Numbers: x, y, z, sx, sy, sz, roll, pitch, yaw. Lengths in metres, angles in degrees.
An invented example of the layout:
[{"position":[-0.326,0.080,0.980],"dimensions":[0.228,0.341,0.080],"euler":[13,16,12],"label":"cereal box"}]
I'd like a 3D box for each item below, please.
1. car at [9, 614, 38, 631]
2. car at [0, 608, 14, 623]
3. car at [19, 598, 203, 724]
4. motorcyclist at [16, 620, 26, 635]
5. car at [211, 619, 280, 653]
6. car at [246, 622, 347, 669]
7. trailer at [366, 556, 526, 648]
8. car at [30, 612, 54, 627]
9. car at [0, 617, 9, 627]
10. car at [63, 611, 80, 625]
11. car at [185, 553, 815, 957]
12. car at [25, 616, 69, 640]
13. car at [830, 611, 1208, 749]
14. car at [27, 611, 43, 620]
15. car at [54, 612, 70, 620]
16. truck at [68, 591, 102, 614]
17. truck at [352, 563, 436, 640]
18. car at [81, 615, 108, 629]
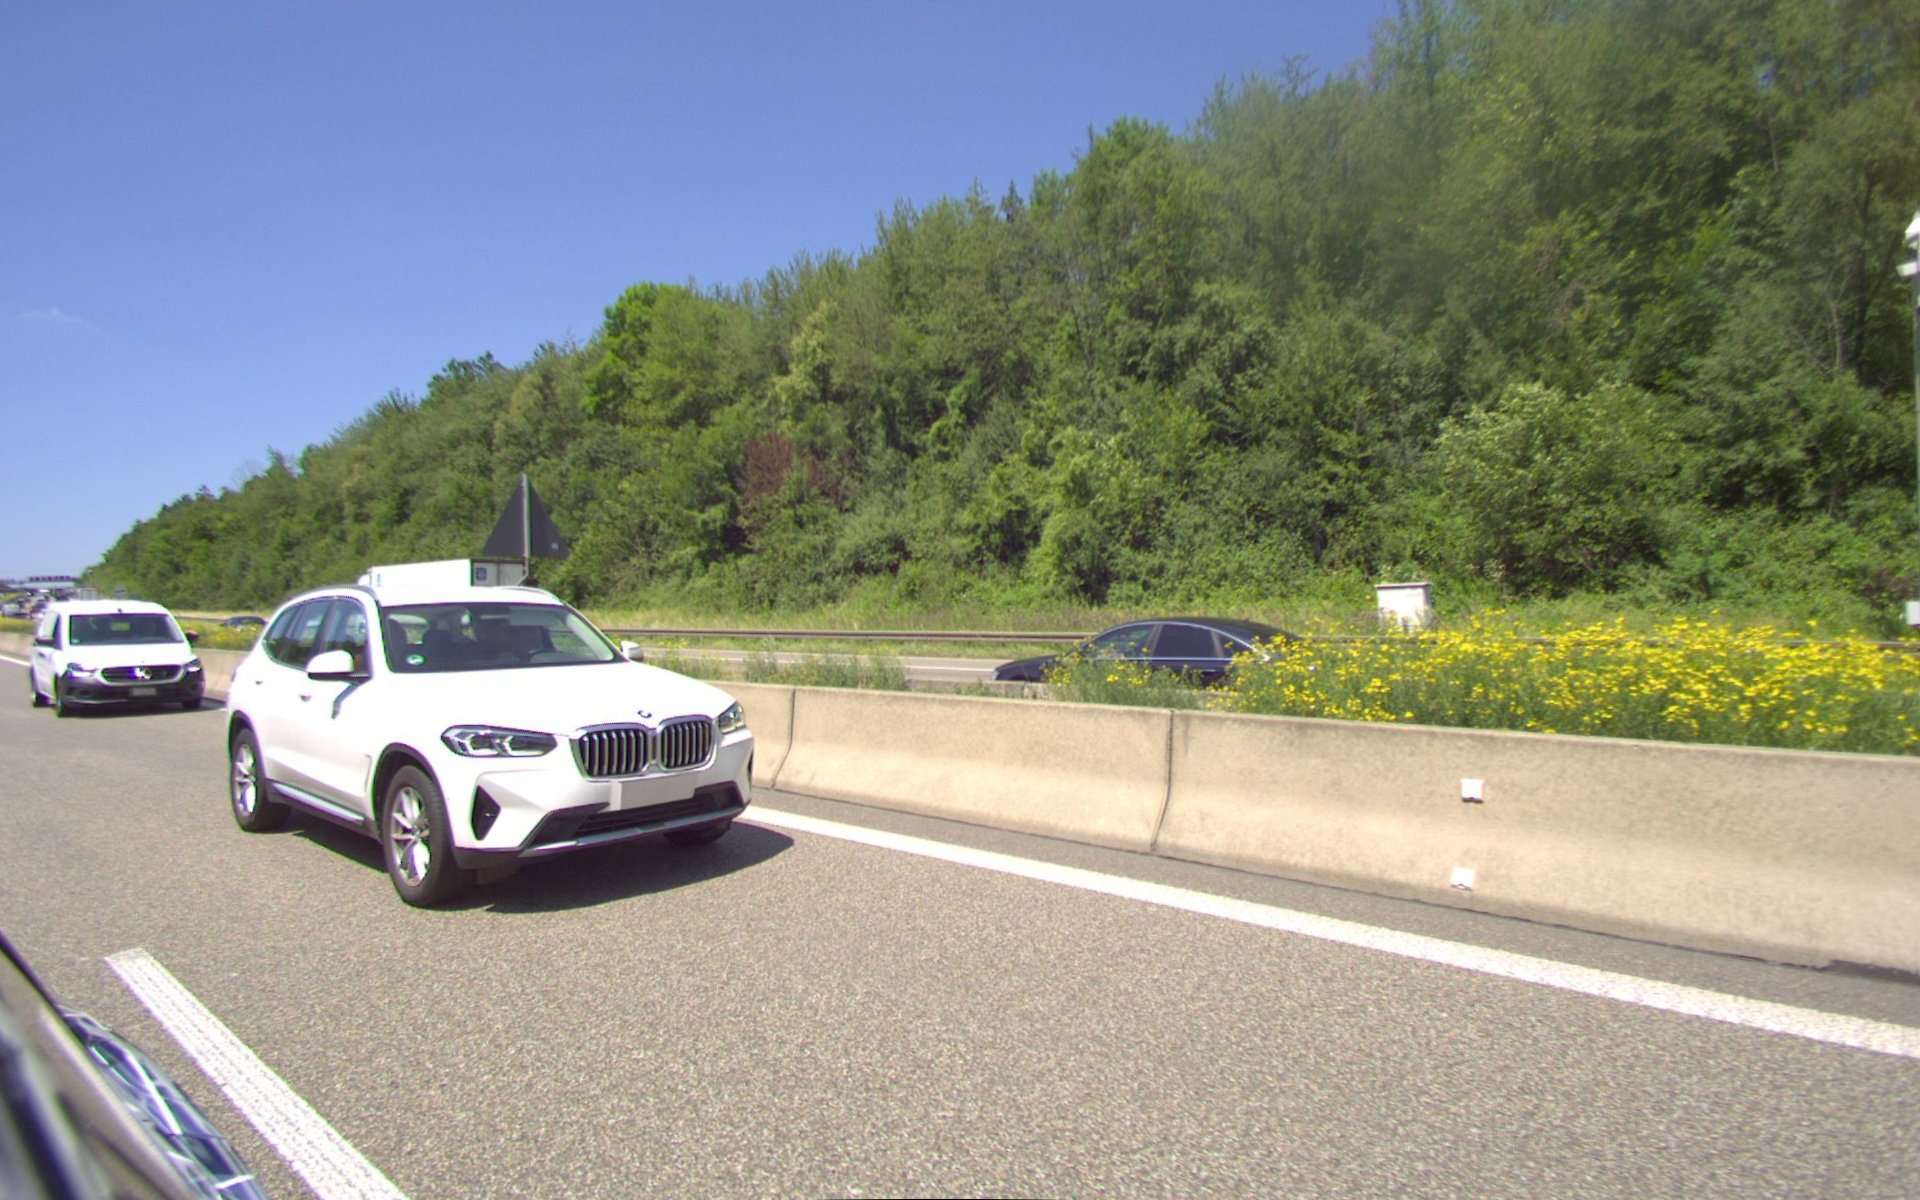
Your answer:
[{"position":[-102.012,2.435,110.231],"dimensions":[3.999,1.763,1.972],"euler":[-1,-1,42],"label":"car"},{"position":[-132.231,2.192,139.817],"dimensions":[4.900,2.029,1.972],"euler":[0,0,43],"label":"car"},{"position":[-14.192,0.924,16.822],"dimensions":[4.673,1.826,1.746],"euler":[-2,-1,42],"label":"car"},{"position":[-87.596,2.570,94.390],"dimensions":[0.577,1.344,0.616],"euler":[-1,-1,40],"label":"motorcyclist"},{"position":[-35.936,1.768,50.873],"dimensions":[3.999,1.584,1.973],"euler":[0,0,42],"label":"car"},{"position":[-21.436,1.424,32.641],"dimensions":[4.134,1.397,1.606],"euler":[-1,-1,40],"label":"car"},{"position":[-26.817,0.118,52.232],"dimensions":[13.932,4.239,2.685],"euler":[0,0,43],"label":"trailer"},{"position":[-118.014,2.510,130.119],"dimensions":[3.999,1.763,1.972],"euler":[-1,-1,42],"label":"car"},{"position":[-143.675,3.276,151.345],"dimensions":[4.000,1.564,1.972],"euler":[-1,-1,43],"label":"car"},{"position":[-130.427,2.667,148.528],"dimensions":[4.001,2.029,1.615],"euler":[0,0,44],"label":"car"},{"position":[-3.295,0.702,6.615],"dimensions":[4.953,1.707,1.845],"euler":[-2,-1,41],"label":"car"},{"position":[-66.627,2.035,73.869],"dimensions":[4.079,1.691,1.972],"euler":[-1,-1,42],"label":"car"},{"position":[0.636,0.906,13.530],"dimensions":[4.870,1.484,1.973],"euler":[0,0,41],"label":"car"},{"position":[-151.870,2.581,166.108],"dimensions":[3.508,1.399,1.651],"euler":[-1,-1,42],"label":"car"},{"position":[-149.142,2.664,168.140],"dimensions":[3.507,1.399,1.597],"euler":[-1,-1,42],"label":"car"},{"position":[-165.067,0.512,190.869],"dimensions":[13.797,4.226,3.668],"euler":[0,0,44],"label":"truck"},{"position":[-31.857,0.095,56.875],"dimensions":[5.203,4.120,2.661],"euler":[0,0,43],"label":"truck"},{"position":[-99.668,2.565,116.565],"dimensions":[4.001,1.519,1.971],"euler":[-2,-2,44],"label":"car"}]
